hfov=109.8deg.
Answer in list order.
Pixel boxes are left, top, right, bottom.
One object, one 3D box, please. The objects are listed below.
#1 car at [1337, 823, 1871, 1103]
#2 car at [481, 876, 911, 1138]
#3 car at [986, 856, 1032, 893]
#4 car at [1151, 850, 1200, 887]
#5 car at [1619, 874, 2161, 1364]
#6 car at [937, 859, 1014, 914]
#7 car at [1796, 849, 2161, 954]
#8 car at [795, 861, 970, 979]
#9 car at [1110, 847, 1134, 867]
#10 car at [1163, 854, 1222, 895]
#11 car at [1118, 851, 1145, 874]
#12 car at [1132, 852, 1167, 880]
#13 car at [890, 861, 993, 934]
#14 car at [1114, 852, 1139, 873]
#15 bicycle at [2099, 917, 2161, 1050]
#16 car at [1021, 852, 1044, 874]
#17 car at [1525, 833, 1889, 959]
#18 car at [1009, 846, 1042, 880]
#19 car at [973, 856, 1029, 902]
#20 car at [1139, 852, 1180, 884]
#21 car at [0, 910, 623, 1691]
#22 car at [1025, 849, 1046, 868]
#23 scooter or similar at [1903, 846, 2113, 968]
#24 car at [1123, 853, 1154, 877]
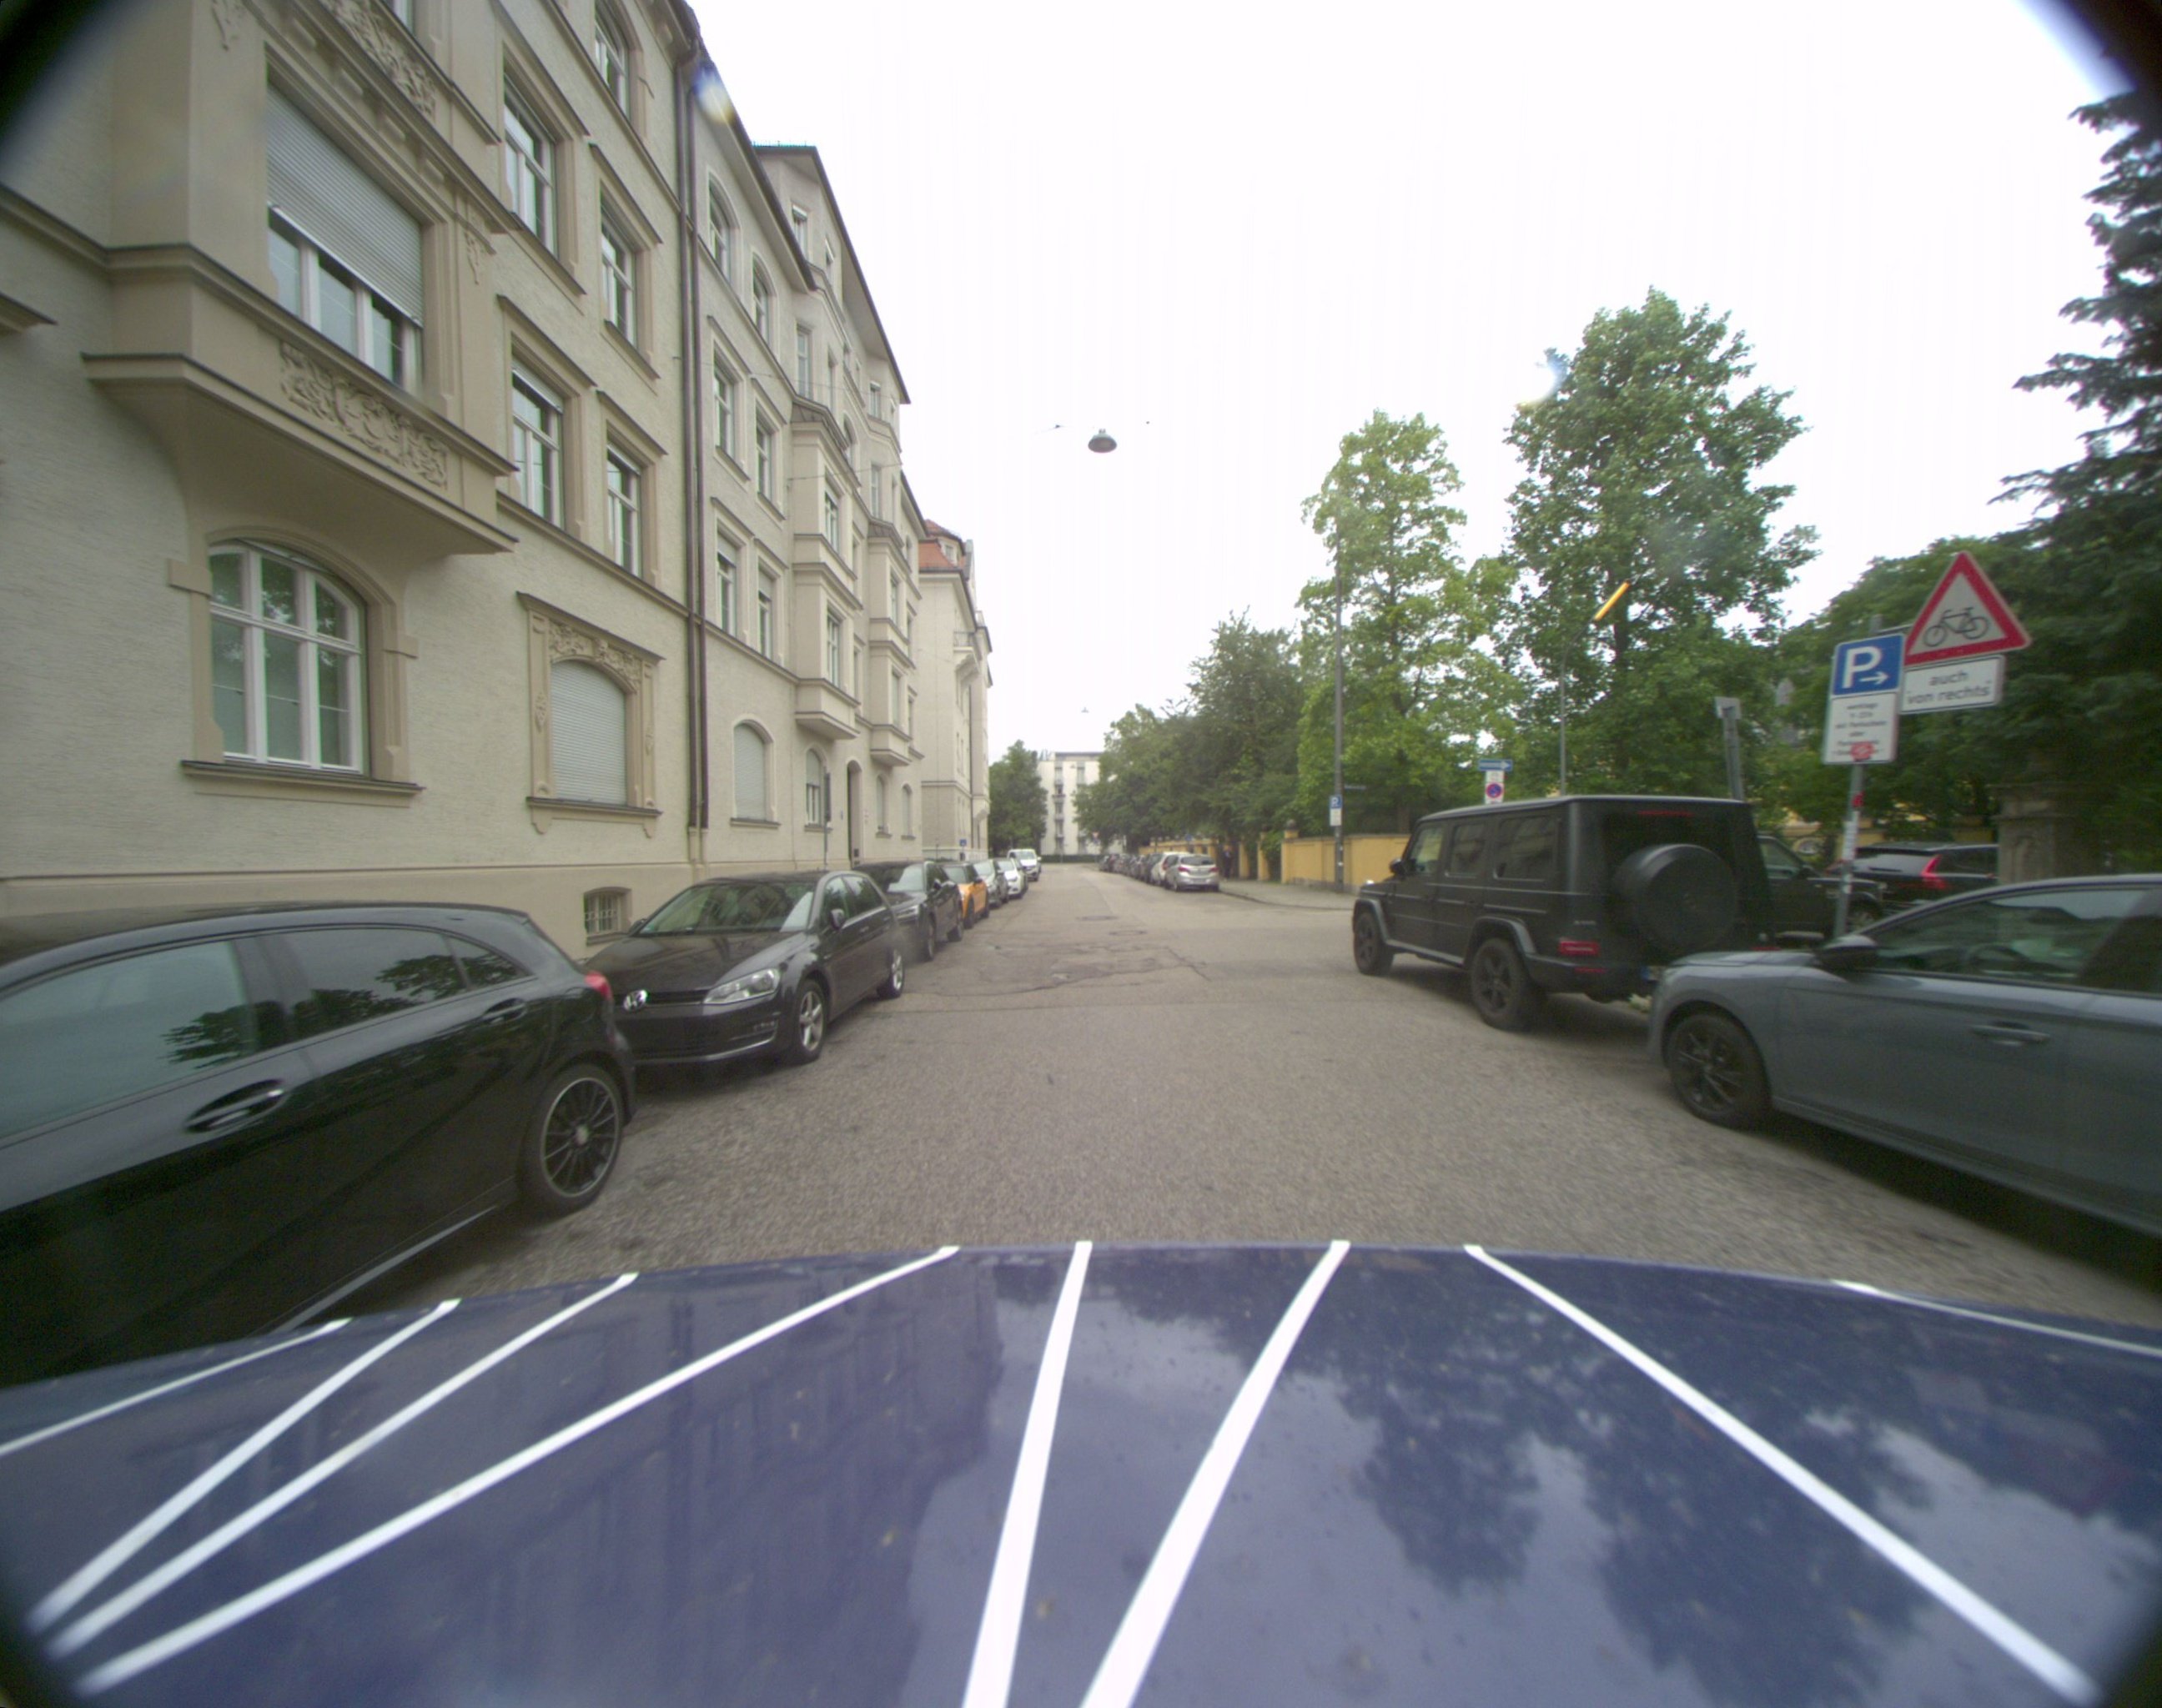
[{"bbox_3d":[4.314,0.686,7.514,1.917,1.876,4.815,1,1,0],"label":"car"},{"bbox_3d":[-2.819,1.006,6.688,1.646,1.409,3.999,-1,1,1],"label":"car"},{"bbox_3d":[-3.056,0.819,32.867,1.715,1.382,4.083,-2,1,-2],"label":"car"},{"bbox_3d":[4.350,0.636,35.553,1.705,1.552,3.929,-1,1,-1],"label":"car"},{"bbox_3d":[4.212,0.905,2.741,1.647,1.422,3.918,2,1,-1],"label":"car"},{"bbox_3d":[-3.121,0.925,23.165,1.715,1.382,3.999,-2,1,0],"label":"car"},{"bbox_3d":[15.444,0.738,13.167,4.520,1.557,1.932,0,3,-7],"label":"car"},{"bbox_3d":[-3.006,0.921,12.363,1.747,1.507,3.957,-1,1,0],"label":"car"},{"bbox_3d":[3.454,0.223,64.365,1.653,1.552,3.929,1,1,-2],"label":"car"},{"bbox_3d":[4.441,0.758,30.722,1.705,1.484,3.955,1,1,-2],"label":"car"},{"bbox_3d":[3.672,0.595,55.874,1.653,1.552,3.929,1,1,-2],"label":"car"},{"bbox_3d":[4.095,0.681,45.939,1.653,1.552,3.929,1,1,-2],"label":"car"},{"bbox_3d":[-3.100,0.916,17.563,1.660,1.432,3.597,0,1,1],"label":"car"},{"bbox_3d":[3.579,0.623,60.031,1.653,1.552,3.929,1,1,-2],"label":"car"},{"bbox_3d":[8.190,0.964,5.112,0.451,0.946,1.637,-1,0,-2],"label":"bicycle"},{"bbox_3d":[-3.981,0.683,62.638,1.794,1.639,4.083,-2,1,-2],"label":"car"},{"bbox_3d":[10.123,0.606,12.508,4.520,1.847,2.053,0,1,-7],"label":"car"},{"bbox_3d":[-3.317,0.513,46.139,1.794,1.927,4.083,-2,1,-2],"label":"car"},{"bbox_3d":[-2.865,0.860,27.880,1.715,1.462,4.083,-2,1,-2],"label":"car"},{"bbox_3d":[4.147,0.718,40.571,1.653,1.552,3.929,1,1,-2],"label":"car"},{"bbox_3d":[-3.116,1.058,1.581,1.746,1.390,4.021,-3,2,1],"label":"car"},{"bbox_3d":[-4.204,0.360,70.168,1.794,1.639,4.083,-2,1,-2],"label":"car"},{"bbox_3d":[9.377,0.530,7.718,1.430,1.172,0.460,-1,-1,5],"label":"scooter or similar"},{"bbox_3d":[3.883,0.708,51.638,1.653,1.552,3.929,1,1,-2],"label":"car"}]
